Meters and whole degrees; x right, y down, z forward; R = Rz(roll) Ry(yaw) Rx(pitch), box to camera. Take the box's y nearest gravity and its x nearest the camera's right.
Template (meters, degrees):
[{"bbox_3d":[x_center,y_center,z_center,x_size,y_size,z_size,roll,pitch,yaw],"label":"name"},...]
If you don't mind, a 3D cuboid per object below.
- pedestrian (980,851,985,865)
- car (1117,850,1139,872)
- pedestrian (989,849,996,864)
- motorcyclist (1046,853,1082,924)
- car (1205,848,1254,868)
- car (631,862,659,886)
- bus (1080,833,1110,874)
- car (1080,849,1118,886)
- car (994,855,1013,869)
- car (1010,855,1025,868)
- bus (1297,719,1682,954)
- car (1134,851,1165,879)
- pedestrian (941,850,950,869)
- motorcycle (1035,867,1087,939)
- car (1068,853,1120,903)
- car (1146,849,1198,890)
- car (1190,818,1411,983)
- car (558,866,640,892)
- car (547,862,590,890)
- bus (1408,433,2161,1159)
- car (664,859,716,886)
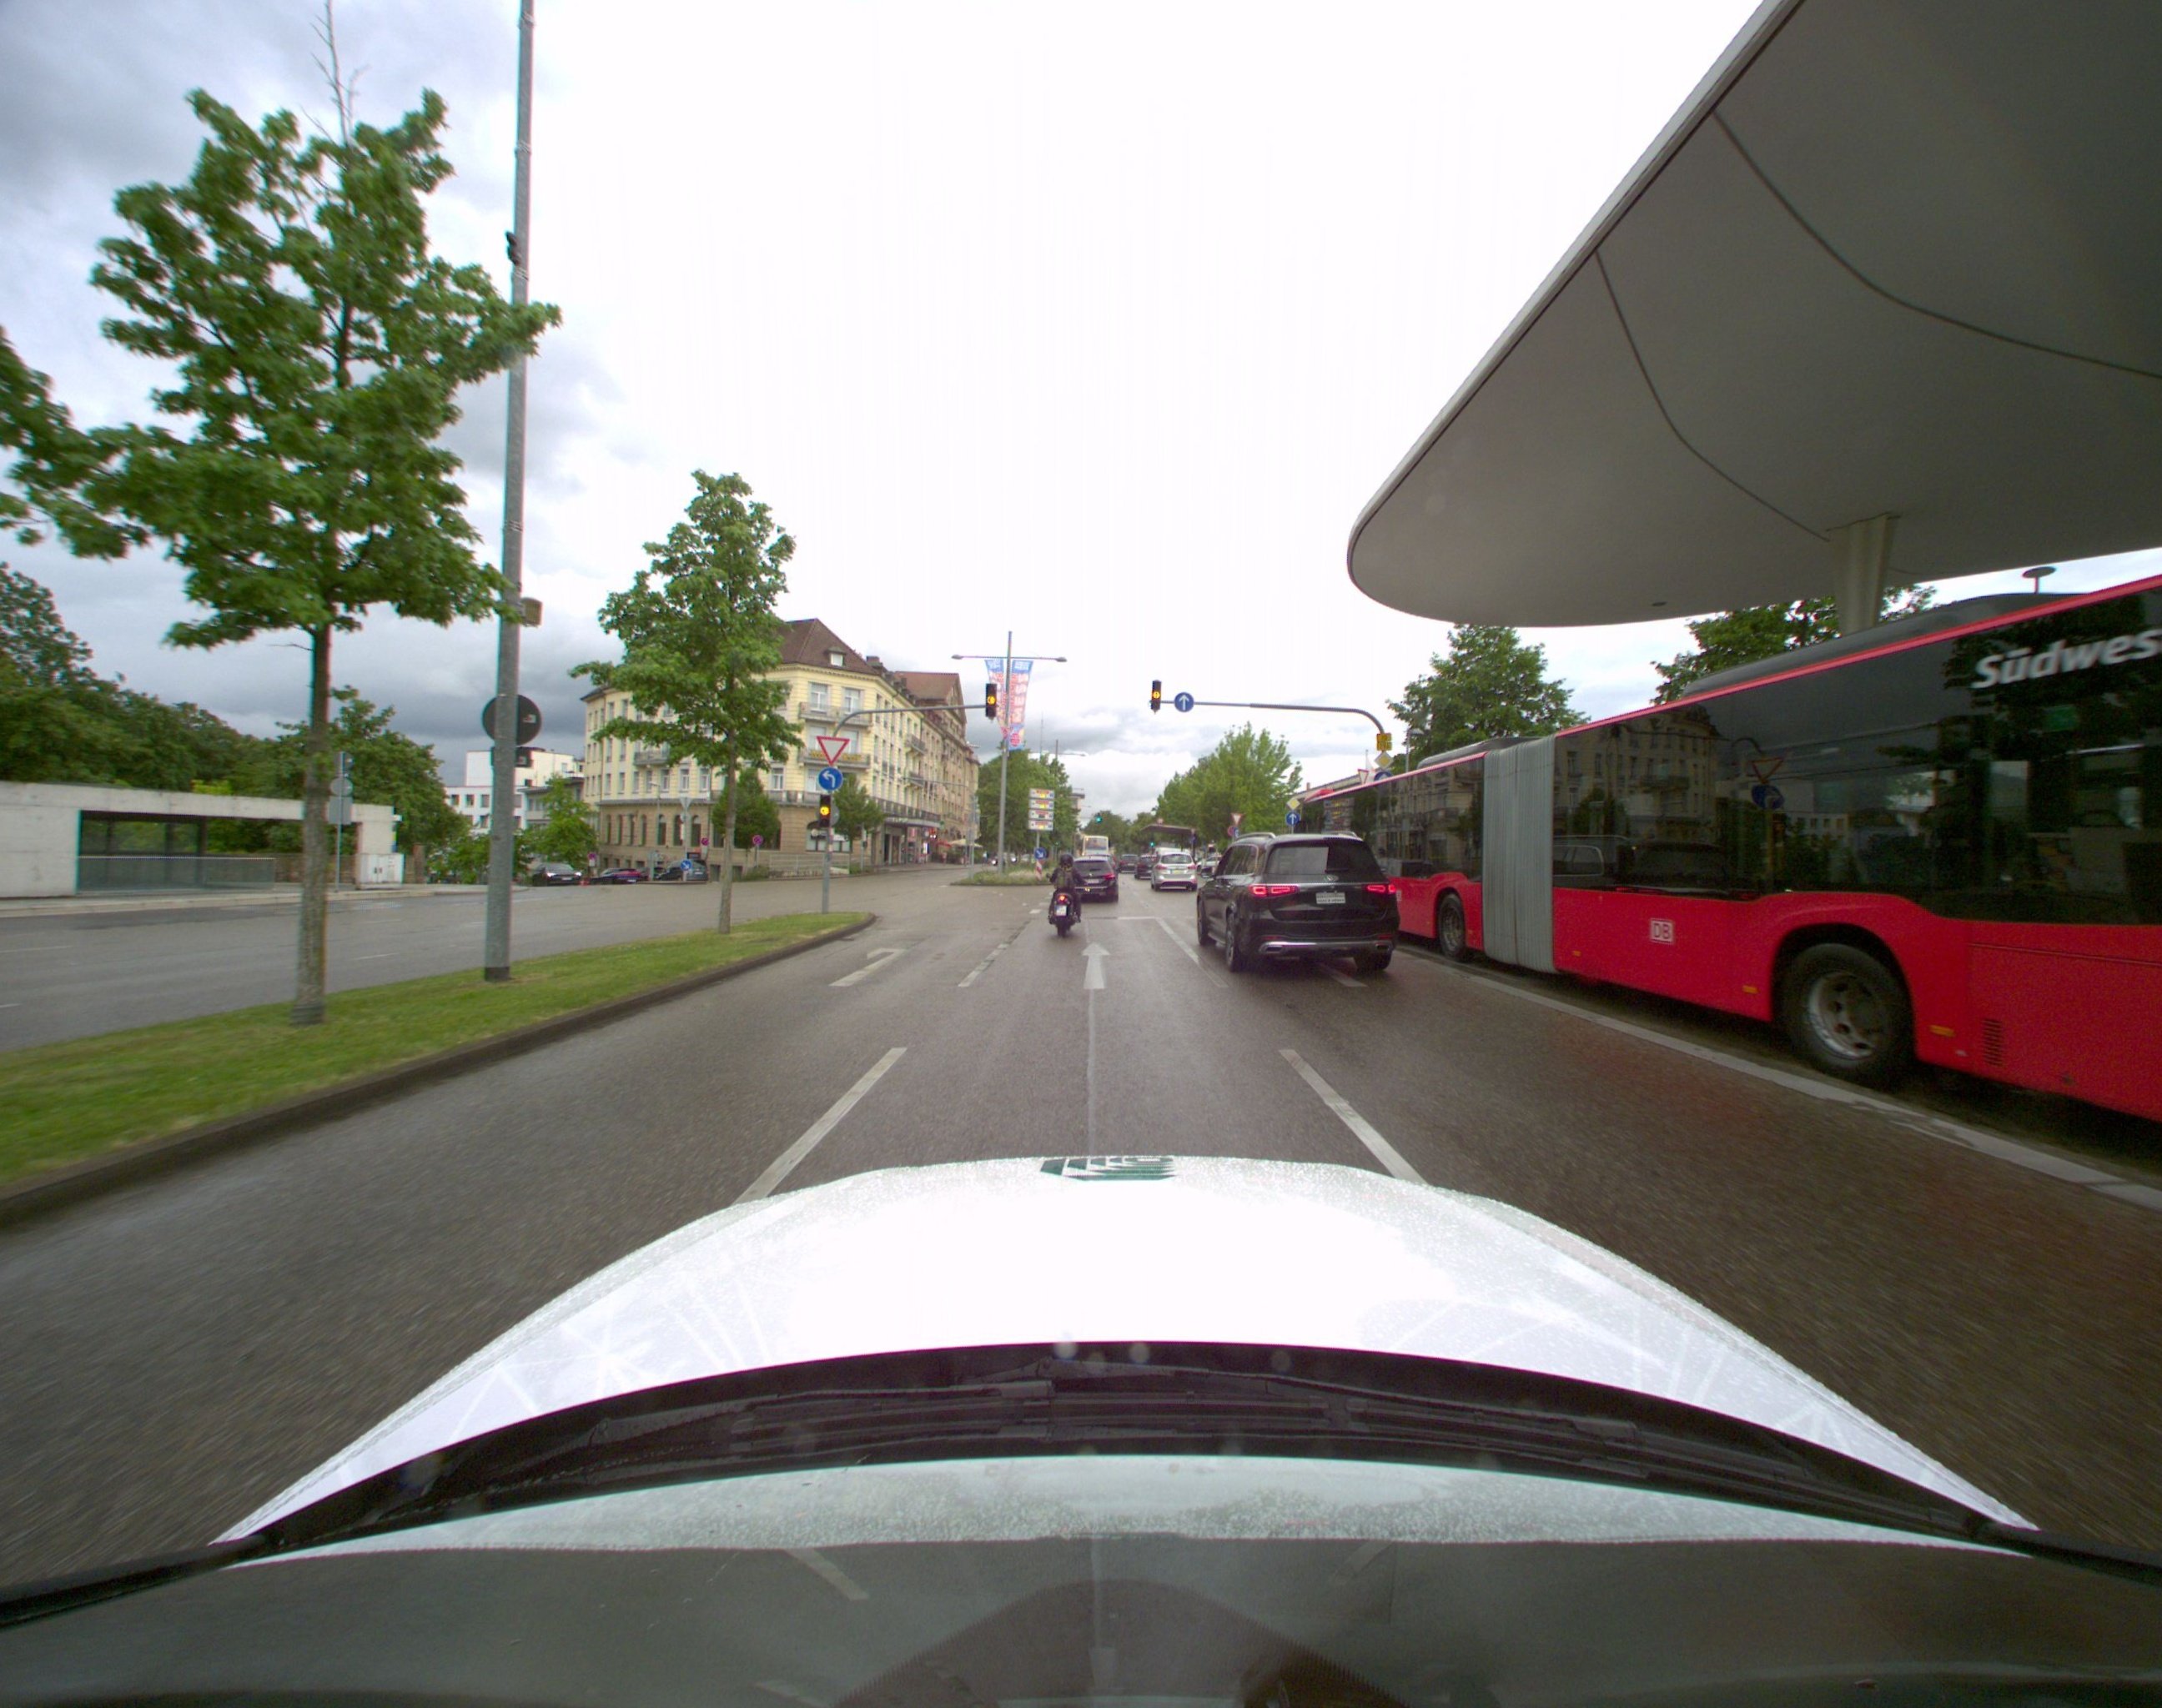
[{"bbox_3d":[-12.776,0.472,105.618,0.555,1.778,0.502,0,-1,36],"label":"pedestrian"},{"bbox_3d":[3.602,0.532,62.948,1.570,1.567,3.796,-1,0,1],"label":"car"},{"bbox_3d":[-11.550,0.378,106.270,0.727,1.966,0.819,0,-1,-26],"label":"pedestrian"},{"bbox_3d":[-0.319,0.656,15.749,0.638,1.347,0.689,0,0,4],"label":"motorcyclist"},{"bbox_3d":[11.941,0.340,65.560,1.588,1.567,3.752,-1,0,-38],"label":"car"},{"bbox_3d":[-31.993,1.456,59.787,1.668,1.604,3.223,-2,1,-28],"label":"car"},{"bbox_3d":[1.426,0.015,85.111,2.828,3.988,11.862,1,-1,0],"label":"bus"},{"bbox_3d":[0.797,0.576,36.781,1.570,1.567,3.871,-1,0,1],"label":"car"},{"bbox_3d":[-8.780,0.916,92.917,1.774,1.567,3.430,-1,0,1],"label":"car"},{"bbox_3d":[-7.710,0.918,99.225,1.570,1.567,3.430,-1,0,1],"label":"car"},{"bbox_3d":[6.895,-0.230,15.839,3.279,3.289,8.852,0,0,2],"label":"bus"},{"bbox_3d":[4.071,0.655,48.760,1.570,1.567,3.871,-1,0,1],"label":"car"},{"bbox_3d":[-14.249,0.577,85.907,0.727,2.014,0.819,0,-1,-26],"label":"pedestrian"},{"bbox_3d":[-0.359,0.904,15.641,0.789,1.262,1.857,-1,0,4],"label":"motorcycle"},{"bbox_3d":[0.447,0.723,26.801,1.570,1.504,3.872,-1,0,2],"label":"car"},{"bbox_3d":[3.702,0.612,33.518,1.735,1.567,3.871,-1,0,1],"label":"car"},{"bbox_3d":[2.876,0.540,11.909,1.950,1.876,4.874,-1,0,1],"label":"car"},{"bbox_3d":[-31.570,1.606,53.528,4.409,1.570,1.807,-1,0,-24],"label":"car"},{"bbox_3d":[-30.763,1.307,48.863,2.008,1.585,3.439,0,0,-35],"label":"car"},{"bbox_3d":[6.644,-0.251,7.385,3.274,3.292,10.881,0,0,2],"label":"bus"},{"bbox_3d":[-27.076,1.262,56.325,2.131,1.776,4.339,0,-1,-42],"label":"car"}]
